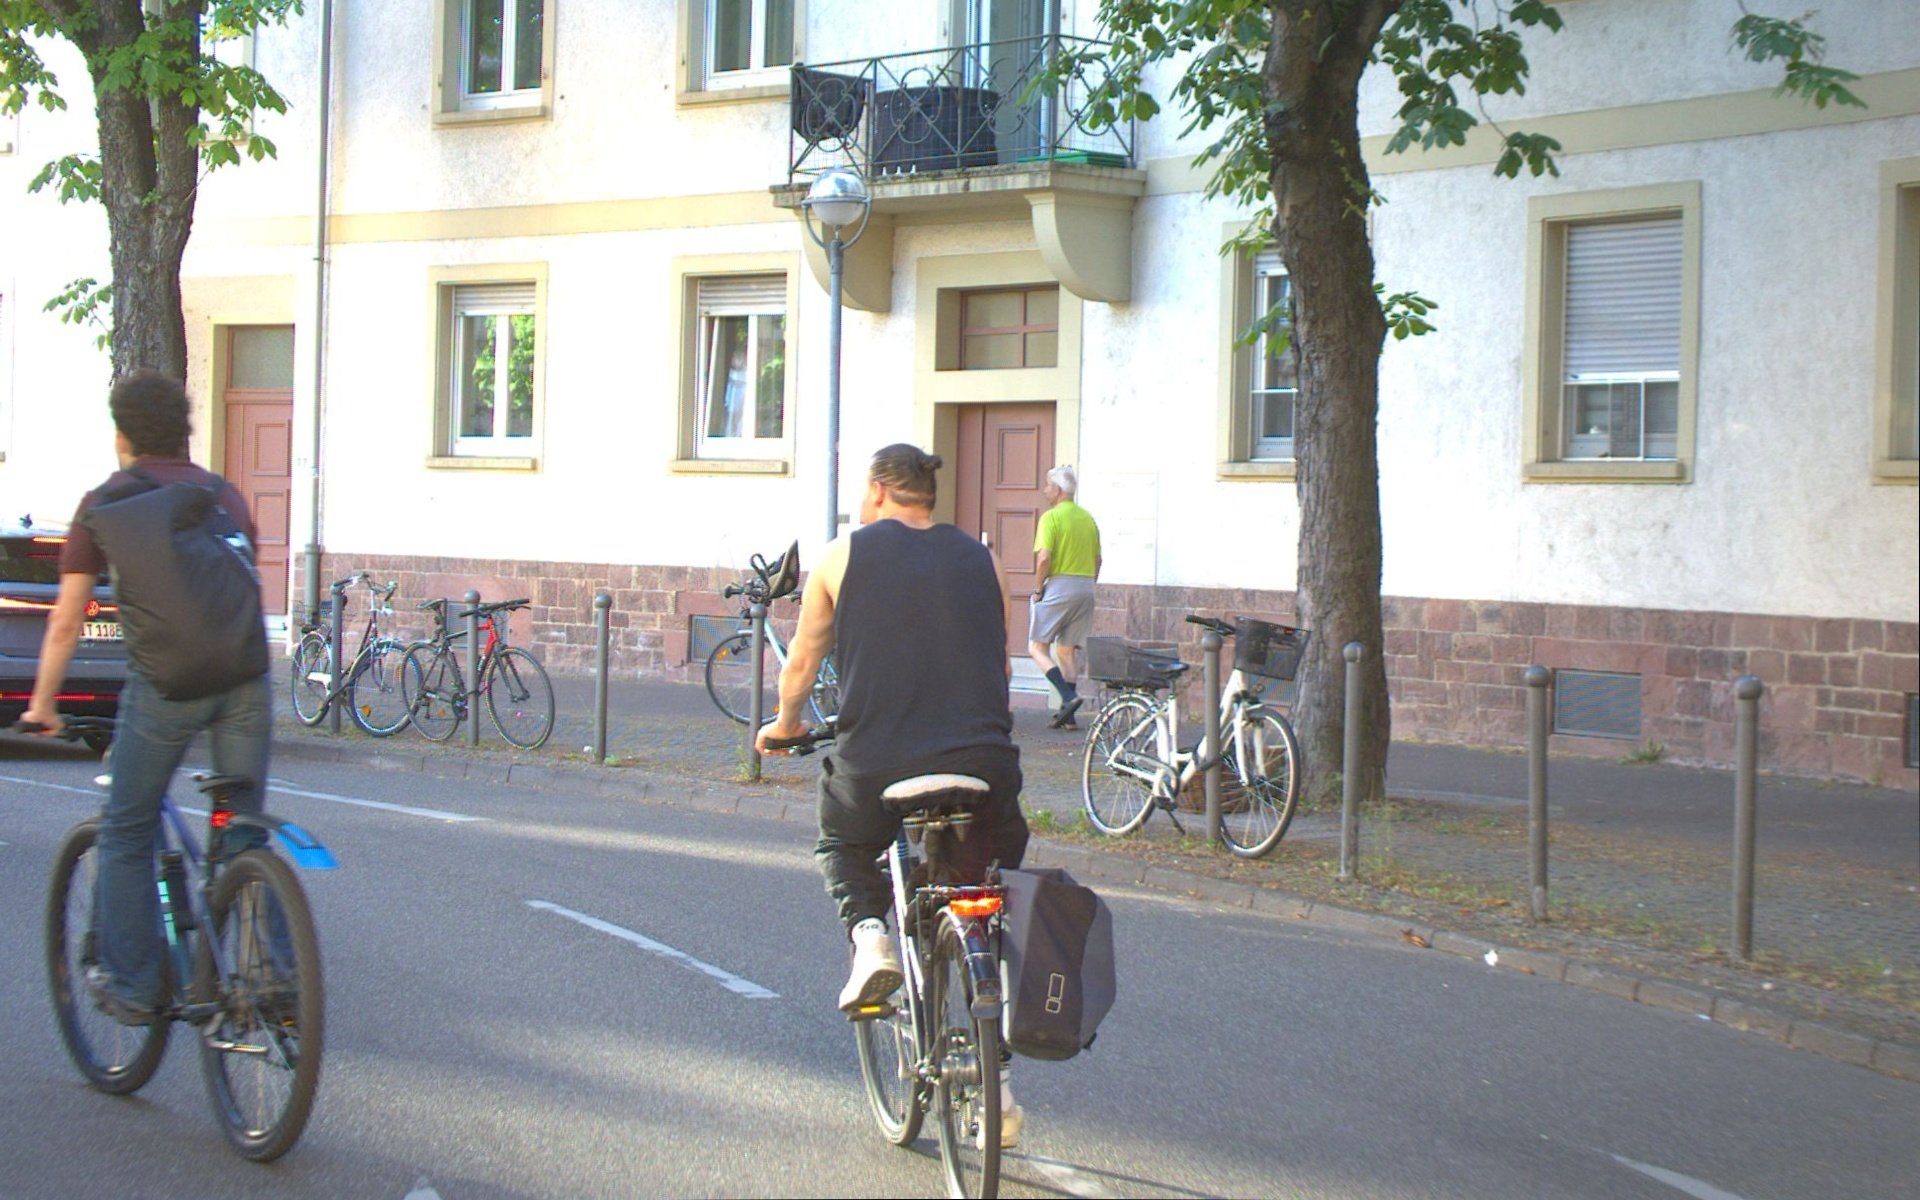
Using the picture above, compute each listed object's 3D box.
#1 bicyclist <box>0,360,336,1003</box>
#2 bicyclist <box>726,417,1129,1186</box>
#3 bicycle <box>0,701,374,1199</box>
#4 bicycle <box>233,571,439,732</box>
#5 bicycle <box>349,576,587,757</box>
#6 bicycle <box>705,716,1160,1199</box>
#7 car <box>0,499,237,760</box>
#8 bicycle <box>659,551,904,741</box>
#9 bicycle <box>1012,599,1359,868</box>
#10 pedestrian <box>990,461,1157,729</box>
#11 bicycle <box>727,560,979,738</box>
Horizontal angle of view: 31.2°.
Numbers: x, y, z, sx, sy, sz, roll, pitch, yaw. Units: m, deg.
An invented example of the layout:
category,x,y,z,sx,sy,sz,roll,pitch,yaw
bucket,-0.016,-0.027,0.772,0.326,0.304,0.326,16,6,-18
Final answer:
category,x,y,z,sx,sy,sz,roll,pitch,yaw
bicyclist,-2.046,0.183,8.693,0.671,1.509,1.069,0,1,-24
bicyclist,-0.099,0.436,7.997,0.752,1.676,0.913,1,1,-10
bicycle,-2.059,0.823,8.708,0.674,1.050,2.062,0,0,-23
bicycle,-4.304,0.330,23.588,0.520,0.995,2.191,1,2,-34
bicycle,-3.224,0.410,22.408,0.616,1.054,1.928,-2,3,-40
bicycle,-0.129,0.847,8.074,0.737,1.008,2.062,0,2,-10
car,-6.705,0.112,22.744,1.893,1.572,3.998,1,2,-44
bicycle,-1.228,0.282,23.228,0.494,1.168,2.117,-4,4,-38
bicycle,1.043,0.598,16.424,0.616,1.109,1.992,-3,4,-31
pedestrian,0.783,-0.052,23.552,0.659,1.788,0.995,2,3,39
bicycle,-0.757,0.312,23.592,0.582,1.110,2.117,0,2,-38
